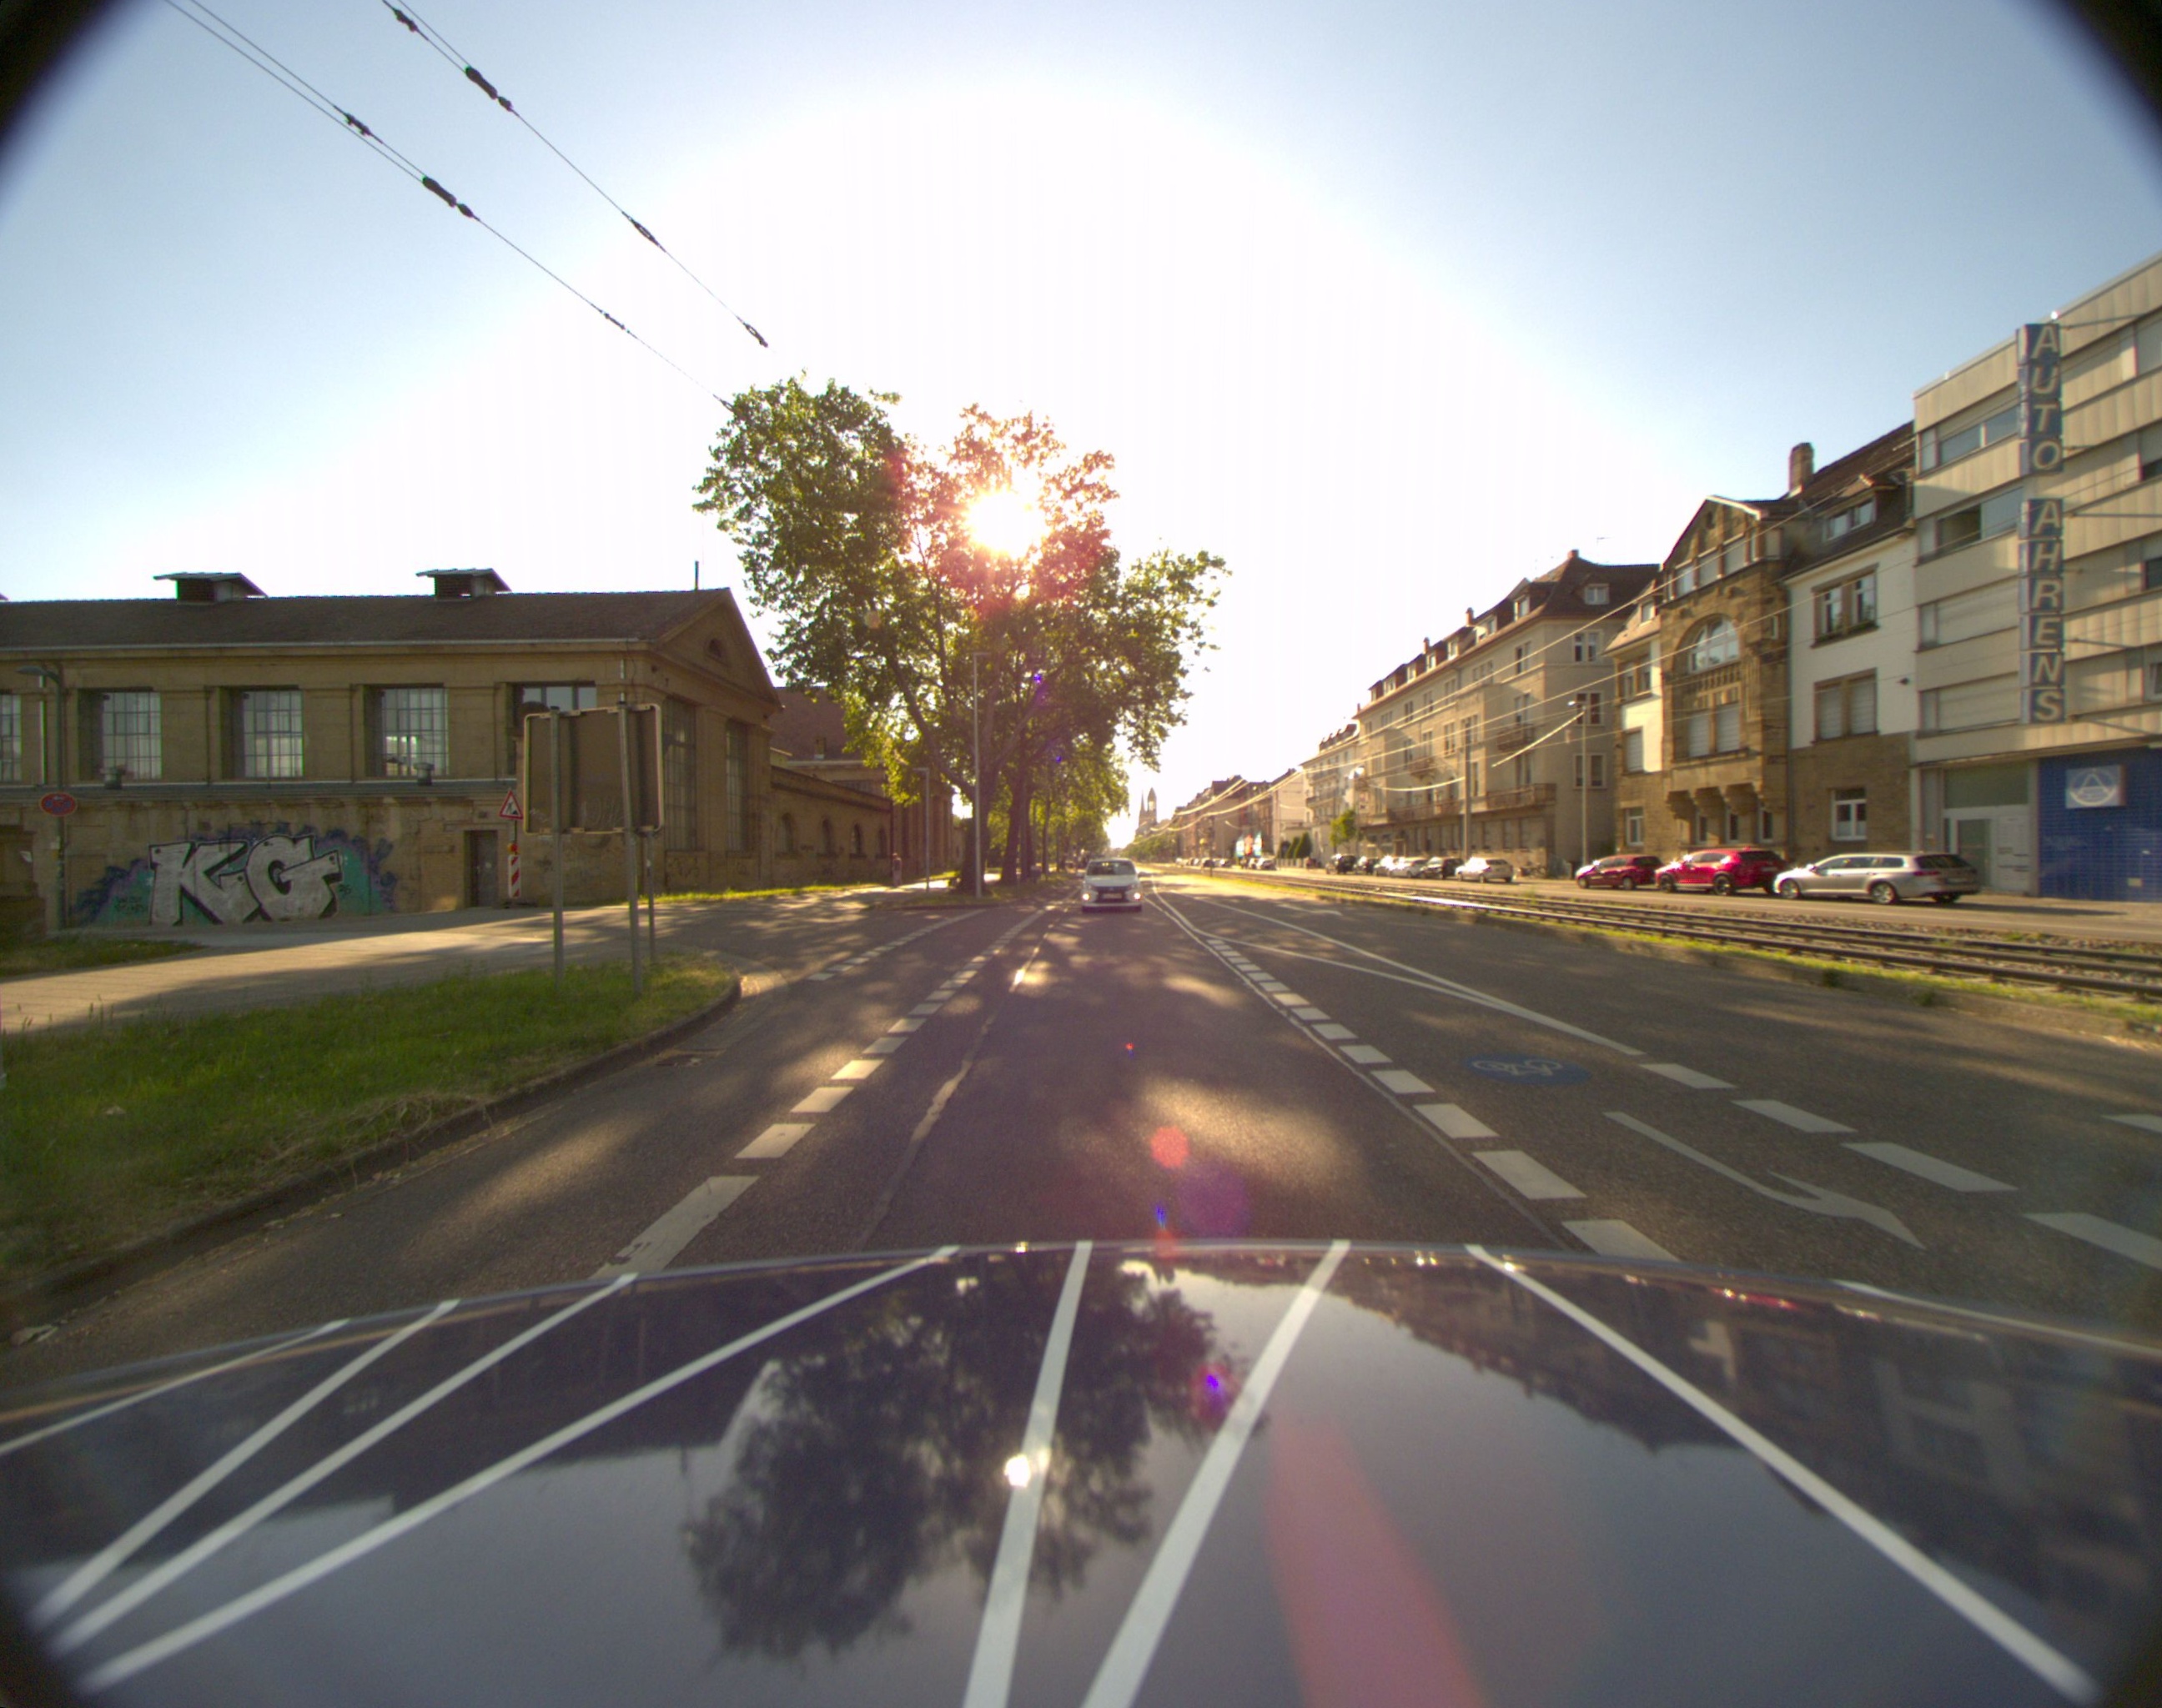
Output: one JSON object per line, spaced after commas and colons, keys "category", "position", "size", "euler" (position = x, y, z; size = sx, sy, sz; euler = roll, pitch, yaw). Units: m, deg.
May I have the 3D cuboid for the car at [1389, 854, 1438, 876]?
{"category": "car", "position": [23.649, 0.790, 54.172], "size": [1.642, 1.438, 3.538], "euler": [-2, 0, -6]}

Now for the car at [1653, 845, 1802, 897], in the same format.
{"category": "car", "position": [23.359, 0.586, 27.692], "size": [1.860, 1.677, 4.263], "euler": [-3, 0, 2]}

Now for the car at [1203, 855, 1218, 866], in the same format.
{"category": "car", "position": [20.272, 0.959, 119.357], "size": [1.822, 1.674, 4.000], "euler": [-1, 0, 2]}

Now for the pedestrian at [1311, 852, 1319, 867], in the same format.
{"category": "pedestrian", "position": [27.776, 0.705, 90.344], "size": [0.725, 1.779, 0.678], "euler": [0, 0, 1]}

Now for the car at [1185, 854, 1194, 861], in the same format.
{"category": "car", "position": [26.342, 0.814, 184.975], "size": [1.624, 1.581, 3.450], "euler": [-2, 0, 1]}

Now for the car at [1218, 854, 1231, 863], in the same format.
{"category": "car", "position": [25.127, 0.747, 133.233], "size": [1.624, 1.581, 3.450], "euler": [-2, 0, 1]}

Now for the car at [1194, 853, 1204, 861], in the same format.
{"category": "car", "position": [26.759, 0.682, 172.299], "size": [1.624, 1.581, 3.450], "euler": [-2, 0, 1]}

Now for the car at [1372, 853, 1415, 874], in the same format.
{"category": "car", "position": [24.276, 0.716, 59.117], "size": [1.802, 1.470, 3.823], "euler": [-2, 0, 2]}

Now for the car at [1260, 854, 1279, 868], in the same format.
{"category": "car", "position": [24.075, 0.859, 97.174], "size": [1.677, 1.622, 3.408], "euler": [-2, 0, 2]}

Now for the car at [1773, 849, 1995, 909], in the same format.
{"category": "car", "position": [23.294, 0.672, 22.338], "size": [1.861, 1.490, 4.382], "euler": [-3, 0, 0]}

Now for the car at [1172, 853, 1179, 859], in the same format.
{"category": "car", "position": [27.772, 0.649, 222.469], "size": [1.624, 1.581, 3.450], "euler": [-2, 0, 1]}

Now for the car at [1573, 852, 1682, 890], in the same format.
{"category": "car", "position": [23.504, 0.699, 32.856], "size": [1.756, 1.487, 3.729], "euler": [-3, 0, -5]}

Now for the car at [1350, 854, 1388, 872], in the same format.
{"category": "car", "position": [24.588, 0.760, 64.967], "size": [1.802, 1.470, 3.823], "euler": [-2, 0, 2]}

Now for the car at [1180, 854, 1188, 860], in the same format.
{"category": "car", "position": [26.418, 0.783, 195.551], "size": [1.624, 1.581, 3.450], "euler": [-2, 0, 1]}

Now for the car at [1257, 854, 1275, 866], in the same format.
{"category": "car", "position": [24.896, 0.838, 102.330], "size": [1.684, 1.562, 3.388], "euler": [-2, 0, 1]}

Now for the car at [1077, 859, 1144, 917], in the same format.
{"category": "car", "position": [0.803, 0.897, 21.655], "size": [1.686, 1.462, 4.055], "euler": [-2, 0, 1]}

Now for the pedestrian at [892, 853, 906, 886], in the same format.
{"category": "pedestrian", "position": [-9.145, 0.762, 38.139], "size": [0.673, 1.652, 0.873], "euler": [0, 0, -13]}

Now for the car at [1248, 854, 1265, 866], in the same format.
{"category": "car", "position": [24.803, 0.851, 107.621], "size": [1.684, 1.562, 3.388], "euler": [-2, 0, 1]}

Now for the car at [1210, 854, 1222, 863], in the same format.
{"category": "car", "position": [25.361, 0.846, 142.533], "size": [1.624, 1.581, 3.450], "euler": [-2, 0, 1]}

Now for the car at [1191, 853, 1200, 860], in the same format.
{"category": "car", "position": [26.774, 0.677, 177.307], "size": [1.624, 1.581, 3.450], "euler": [-2, 0, 1]}

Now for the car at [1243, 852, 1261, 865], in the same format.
{"category": "car", "position": [25.385, 0.667, 112.867], "size": [1.727, 1.776, 3.881], "euler": [-2, 0, 1]}

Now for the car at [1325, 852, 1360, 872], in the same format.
{"category": "car", "position": [24.220, 0.690, 70.463], "size": [1.875, 1.726, 3.916], "euler": [-2, 0, 2]}

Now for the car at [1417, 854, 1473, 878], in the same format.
{"category": "car", "position": [23.929, 0.766, 50.088], "size": [1.802, 1.422, 3.823], "euler": [-2, 0, -1]}

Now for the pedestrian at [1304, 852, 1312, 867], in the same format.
{"category": "pedestrian", "position": [27.013, 0.696, 90.555], "size": [0.725, 1.779, 0.678], "euler": [0, 0, 1]}

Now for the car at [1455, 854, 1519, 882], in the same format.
{"category": "car", "position": [23.796, 0.799, 44.691], "size": [1.802, 1.470, 3.823], "euler": [-2, 0, 2]}
